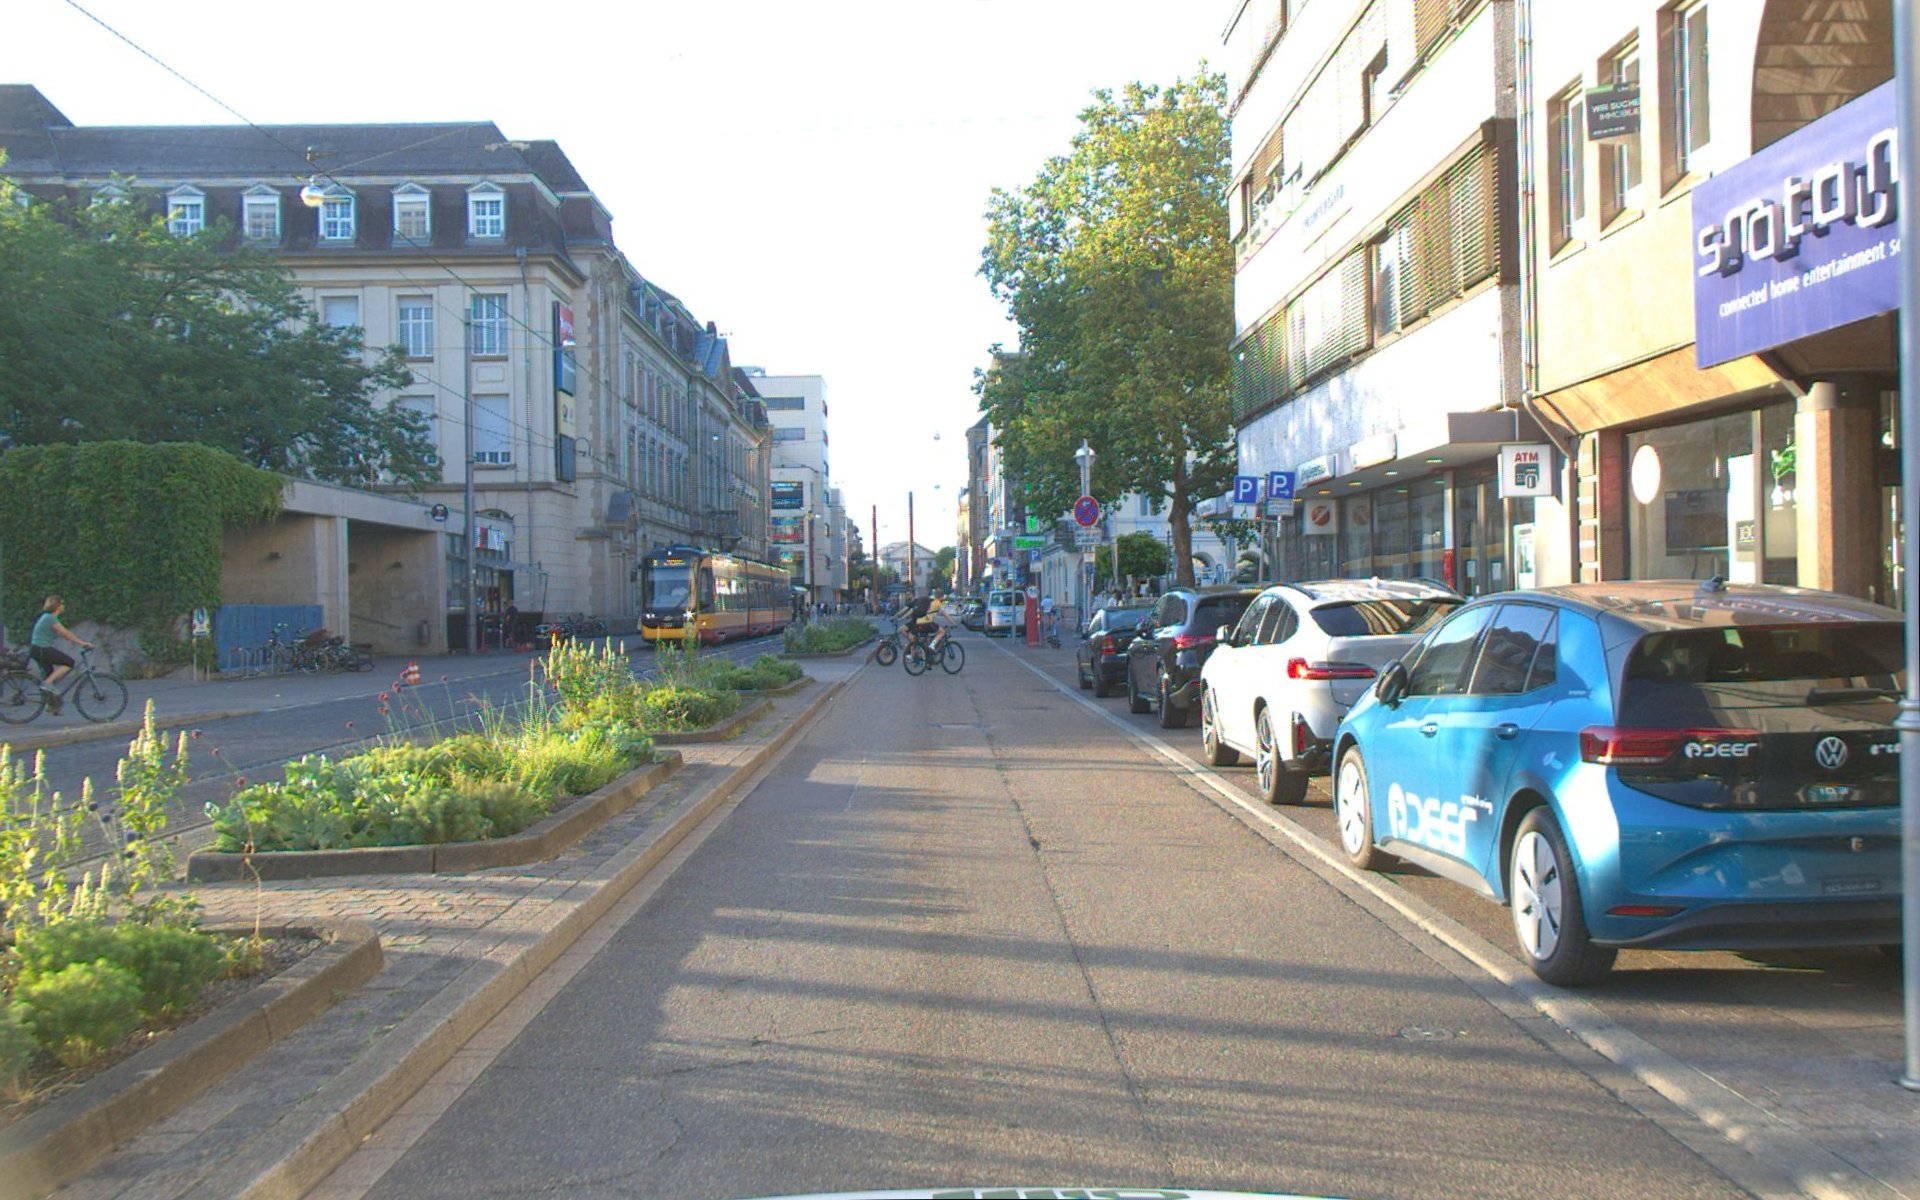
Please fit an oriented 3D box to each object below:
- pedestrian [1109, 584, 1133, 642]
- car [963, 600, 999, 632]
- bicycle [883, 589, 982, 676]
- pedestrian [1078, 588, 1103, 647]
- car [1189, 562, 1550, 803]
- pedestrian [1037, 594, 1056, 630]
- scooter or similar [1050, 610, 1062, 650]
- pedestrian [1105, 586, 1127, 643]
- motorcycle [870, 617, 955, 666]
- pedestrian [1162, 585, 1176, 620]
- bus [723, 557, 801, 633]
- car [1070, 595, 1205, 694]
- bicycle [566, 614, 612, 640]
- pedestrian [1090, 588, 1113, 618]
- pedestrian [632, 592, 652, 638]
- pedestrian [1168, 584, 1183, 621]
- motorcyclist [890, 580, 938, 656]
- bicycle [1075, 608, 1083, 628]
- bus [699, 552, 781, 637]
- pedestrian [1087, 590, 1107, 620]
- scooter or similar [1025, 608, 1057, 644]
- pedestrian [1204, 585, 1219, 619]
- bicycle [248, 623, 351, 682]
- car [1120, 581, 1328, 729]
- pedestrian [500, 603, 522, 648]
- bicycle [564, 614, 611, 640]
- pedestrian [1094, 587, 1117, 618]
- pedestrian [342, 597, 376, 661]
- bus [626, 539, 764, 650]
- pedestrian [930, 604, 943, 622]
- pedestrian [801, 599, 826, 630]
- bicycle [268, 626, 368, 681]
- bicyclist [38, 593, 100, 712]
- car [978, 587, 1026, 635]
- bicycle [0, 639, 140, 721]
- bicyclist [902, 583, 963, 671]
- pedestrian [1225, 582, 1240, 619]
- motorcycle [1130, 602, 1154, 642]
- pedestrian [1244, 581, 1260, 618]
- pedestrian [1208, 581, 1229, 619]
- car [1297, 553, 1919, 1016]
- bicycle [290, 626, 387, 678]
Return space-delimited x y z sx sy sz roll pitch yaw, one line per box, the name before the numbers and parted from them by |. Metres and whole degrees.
pedestrian | 4.943 0.416 50.864 0.664 1.747 0.654 -1 -2 1
car | 1.232 0.944 97.327 1.953 1.791 4.419 -1 -1 -1
bicycle | -0.557 0.660 35.036 0.593 1.770 2.351 -1 0 45
pedestrian | 4.125 0.544 52.278 0.699 1.835 0.824 -2 -1 2
car | 3.113 0.559 13.602 1.779 1.613 4.723 -1 0 0
pedestrian | 4.426 0.618 84.360 0.772 1.782 0.893 -1 -2 -8
scooter or similar | 3.003 0.939 51.872 0.308 1.243 1.273 -1 0 6
pedestrian | 4.868 0.456 51.592 0.601 1.747 0.662 -1 -2 1
motorcycle | -1.170 1.027 40.905 2.010 1.143 0.566 -1 -2 -16
pedestrian | 8.028 0.104 63.607 0.463 1.328 0.540 -2 -2 13
bus | -10.320 -0.156 87.252 2.765 3.676 11.819 -1 -1 -1
car | 2.885 0.688 27.675 1.622 1.404 4.340 -5 0 -1
bicycle | -17.434 1.286 77.806 2.037 1.168 0.574 -1 -2 -6
pedestrian | 6.368 0.144 74.548 0.884 1.329 0.966 -1 -2 -2
pedestrian | -13.323 0.629 69.299 0.679 1.880 0.661 -1 -2 -1
pedestrian | 8.037 0.084 61.759 0.463 1.353 0.540 -2 -2 13
motorcyclist | -1.142 0.449 40.959 0.985 1.845 0.956 -1 -2 -15
bicycle | 5.611 0.850 78.000 0.245 0.918 1.373 -1 -2 -1
bus | -10.156 -0.242 77.159 2.765 3.688 8.287 -1 0 -1
pedestrian | 6.374 0.241 76.912 0.806 1.329 0.869 -1 -2 -2
scooter or similar | 2.912 0.940 59.378 1.102 1.237 0.300 -2 -1 0
pedestrian | 9.468 0.072 62.288 0.463 1.263 0.540 -2 -2 13
bicycle | -15.440 1.219 38.666 2.152 1.323 0.579 -1 -2 -1
car | 3.174 0.588 20.755 1.740 1.565 4.577 -1 1 -1
pedestrian | -16.526 0.938 60.931 0.704 1.674 0.655 0 -1 -23
bicycle | -17.359 1.265 77.142 2.056 1.168 0.574 -1 -2 -6
pedestrian | 6.450 0.113 73.534 0.884 1.337 0.966 -1 -2 -2
pedestrian | -18.652 0.903 51.334 0.709 1.968 0.793 -1 -2 2
bus | -9.982 -0.185 64.507 2.765 3.715 17.069 -1 0 -1
pedestrian | -2.628 1.445 187.346 1.210 1.962 1.017 -1 0 -17
pedestrian | -7.411 0.742 83.749 0.706 1.540 1.031 -3 -3 42
bicycle | -15.589 1.295 40.188 2.196 1.277 0.579 -1 -2 -1
bicyclist | -12.980 0.762 24.093 0.698 1.698 0.619 0 -3 -40
car | 1.814 0.477 72.580 1.876 2.016 4.420 -1 -1 -1
bicycle | -13.021 1.151 24.057 1.920 1.131 0.453 0 -2 -42
bicyclist | -0.585 0.559 35.005 0.919 1.807 0.961 -1 0 -30
pedestrian | 9.856 0.025 59.789 0.464 1.307 0.540 -2 -2 15
motorcycle | 5.642 0.699 51.356 0.446 1.178 2.030 -1 -2 -1
pedestrian | 10.485 -0.008 59.364 0.464 1.307 0.540 -2 -2 15
pedestrian | 9.139 0.019 58.522 0.630 1.307 0.741 -2 -2 15
car | 3.128 0.634 8.170 1.773 1.579 4.834 -1 0 -2
bicycle | -15.715 1.301 41.859 2.196 1.253 0.585 -1 -1 -1
